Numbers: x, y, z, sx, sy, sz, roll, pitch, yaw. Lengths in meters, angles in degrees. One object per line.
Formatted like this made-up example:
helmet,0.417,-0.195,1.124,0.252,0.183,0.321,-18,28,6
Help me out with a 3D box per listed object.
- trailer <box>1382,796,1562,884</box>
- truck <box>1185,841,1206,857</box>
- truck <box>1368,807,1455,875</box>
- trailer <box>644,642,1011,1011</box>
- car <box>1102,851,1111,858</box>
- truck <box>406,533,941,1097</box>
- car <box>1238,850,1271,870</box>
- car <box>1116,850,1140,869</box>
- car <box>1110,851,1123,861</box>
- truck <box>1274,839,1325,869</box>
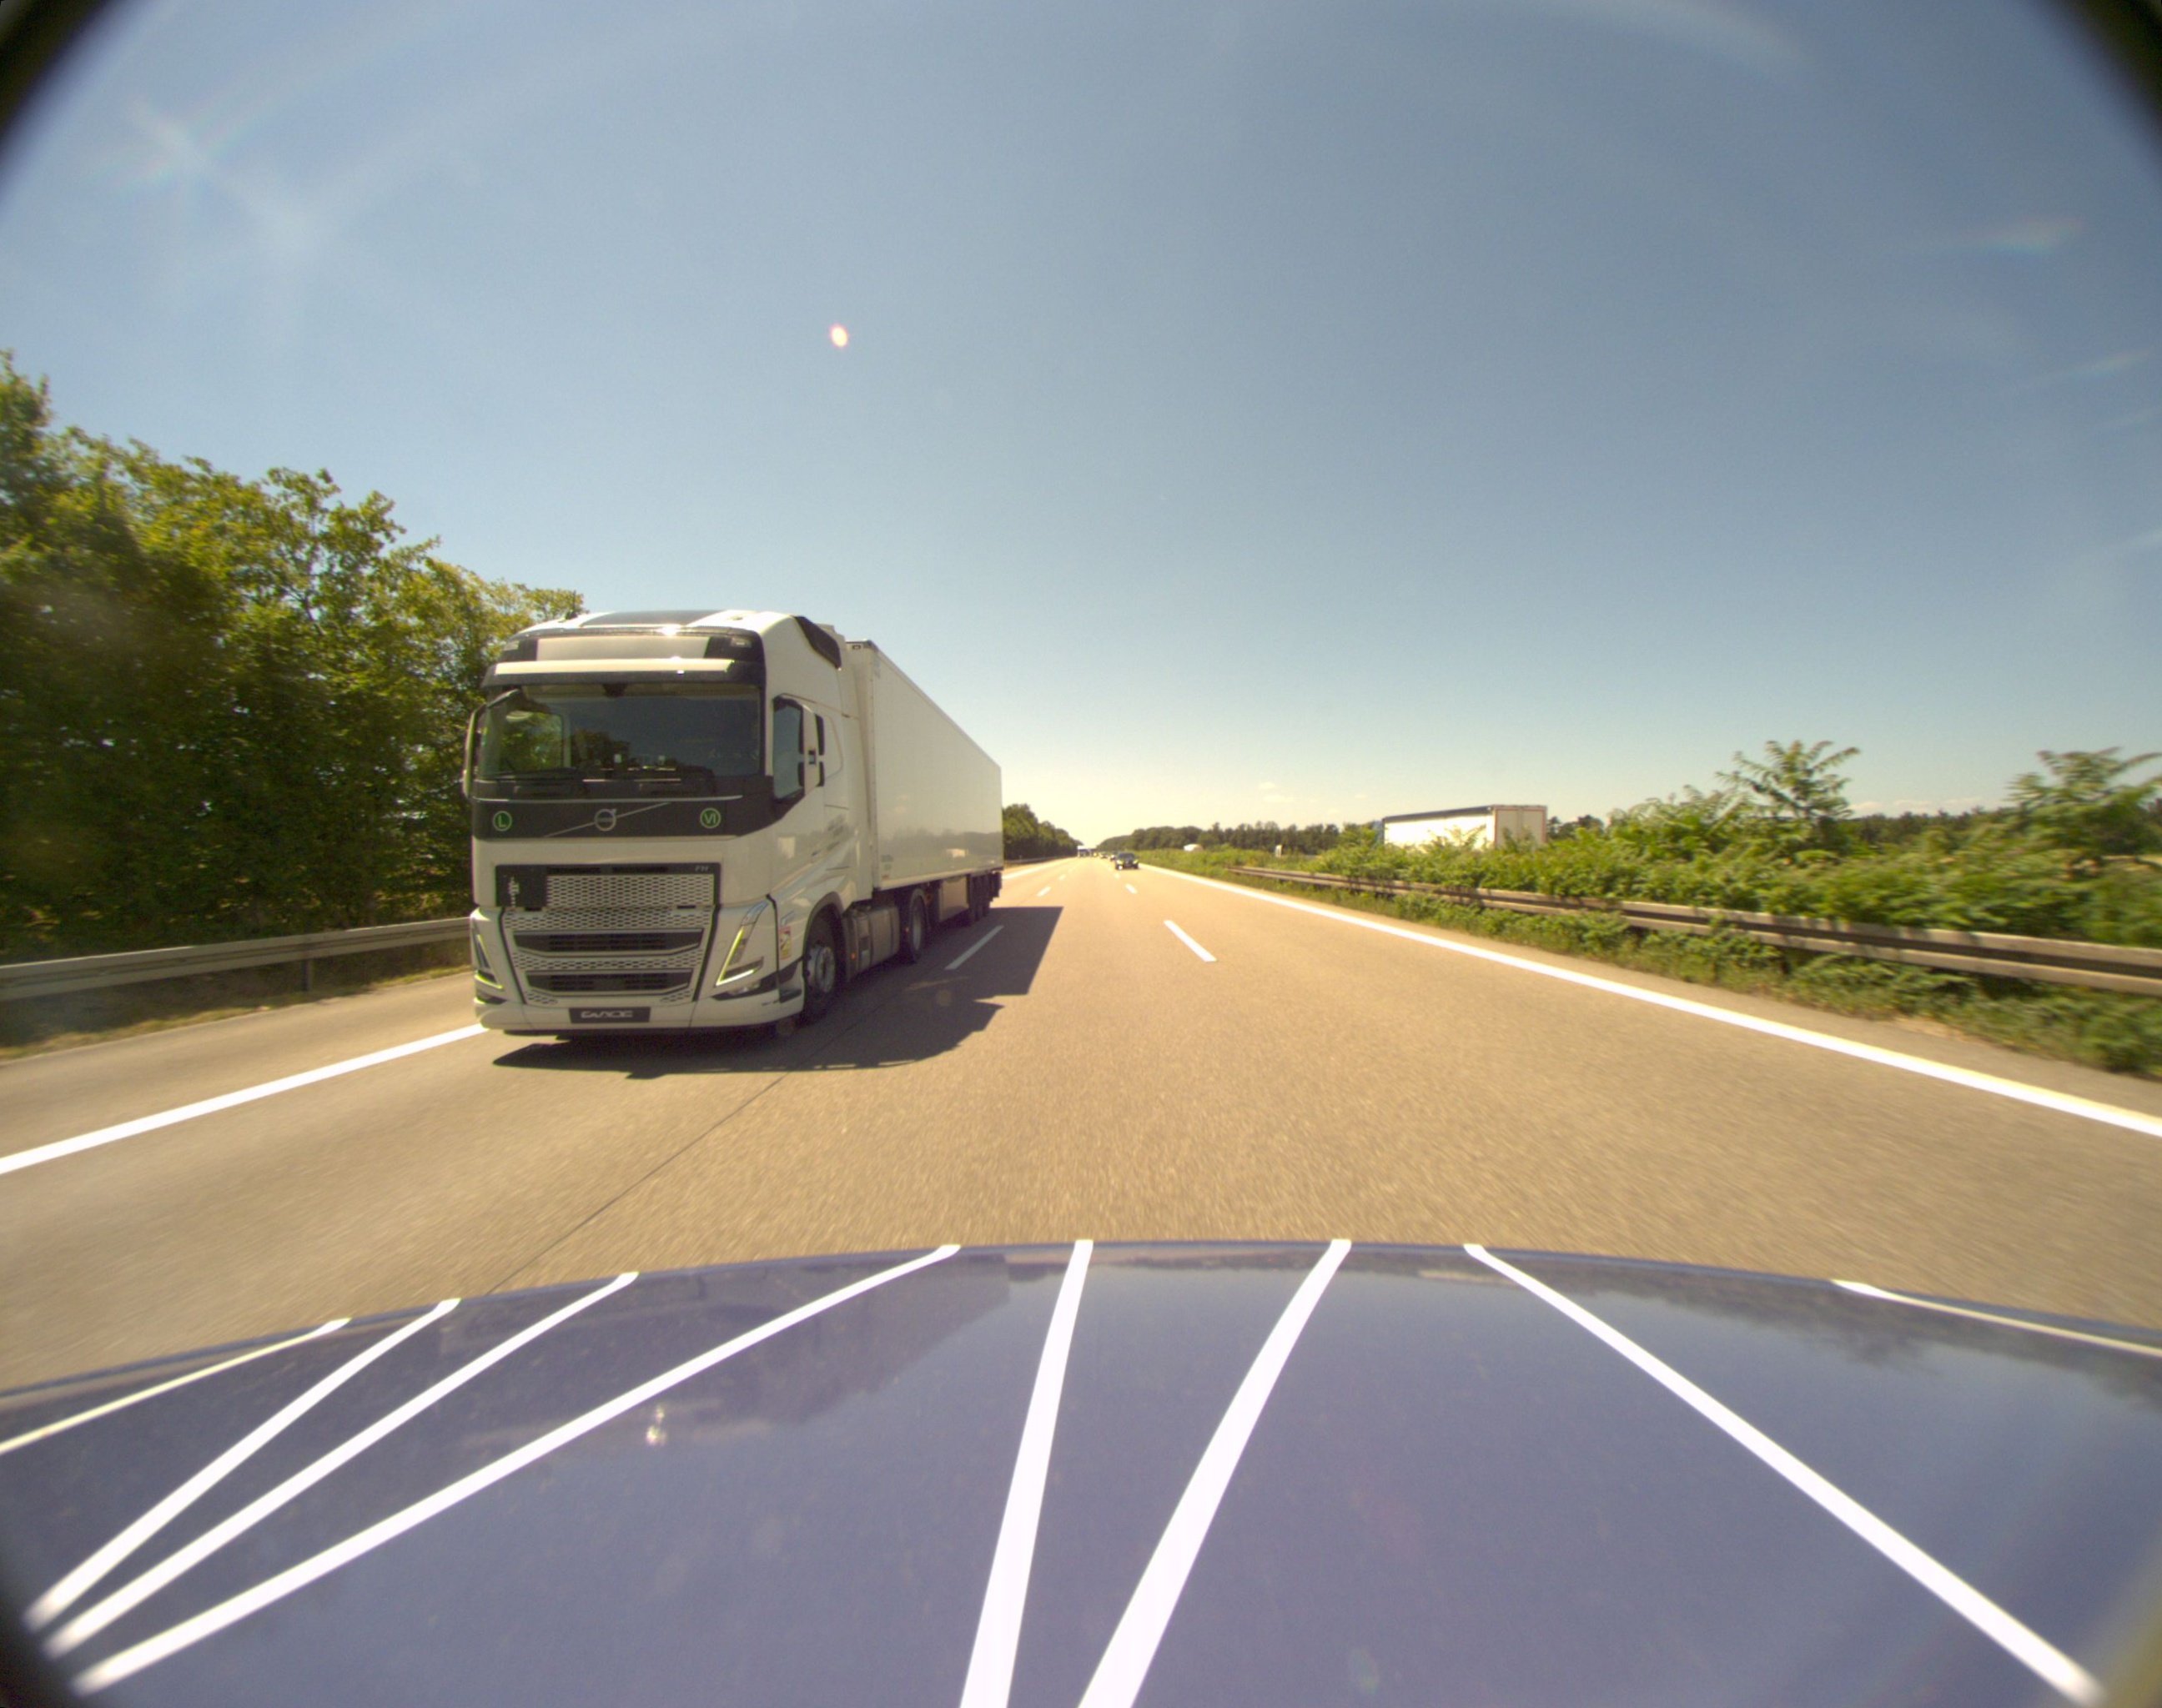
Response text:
trailer,21.273,-0.759,42.926,3.066,4.035,13.954,-2,1,1
truck,23.595,-1.148,157.353,2.575,3.106,13.119,-2,1,1
truck,21.377,-0.836,49.569,3.066,4.035,5.917,-2,1,1
trailer,-3.475,-0.379,15.460,2.476,4.039,13.879,-2,1,1
car,5.874,0.073,175.886,1.811,1.417,4.000,-2,1,1
truck,-3.559,-0.302,8.736,2.476,4.039,6.319,-2,1,1
car,13.369,0.468,58.691,1.684,1.412,3.688,-2,1,1
car,3.939,0.415,64.060,1.811,1.460,4.000,-2,1,1
car,5.689,0.362,121.443,1.811,1.417,4.000,-2,1,1
truck,17.249,-0.020,60.358,2.253,2.141,6.572,-2,1,1
